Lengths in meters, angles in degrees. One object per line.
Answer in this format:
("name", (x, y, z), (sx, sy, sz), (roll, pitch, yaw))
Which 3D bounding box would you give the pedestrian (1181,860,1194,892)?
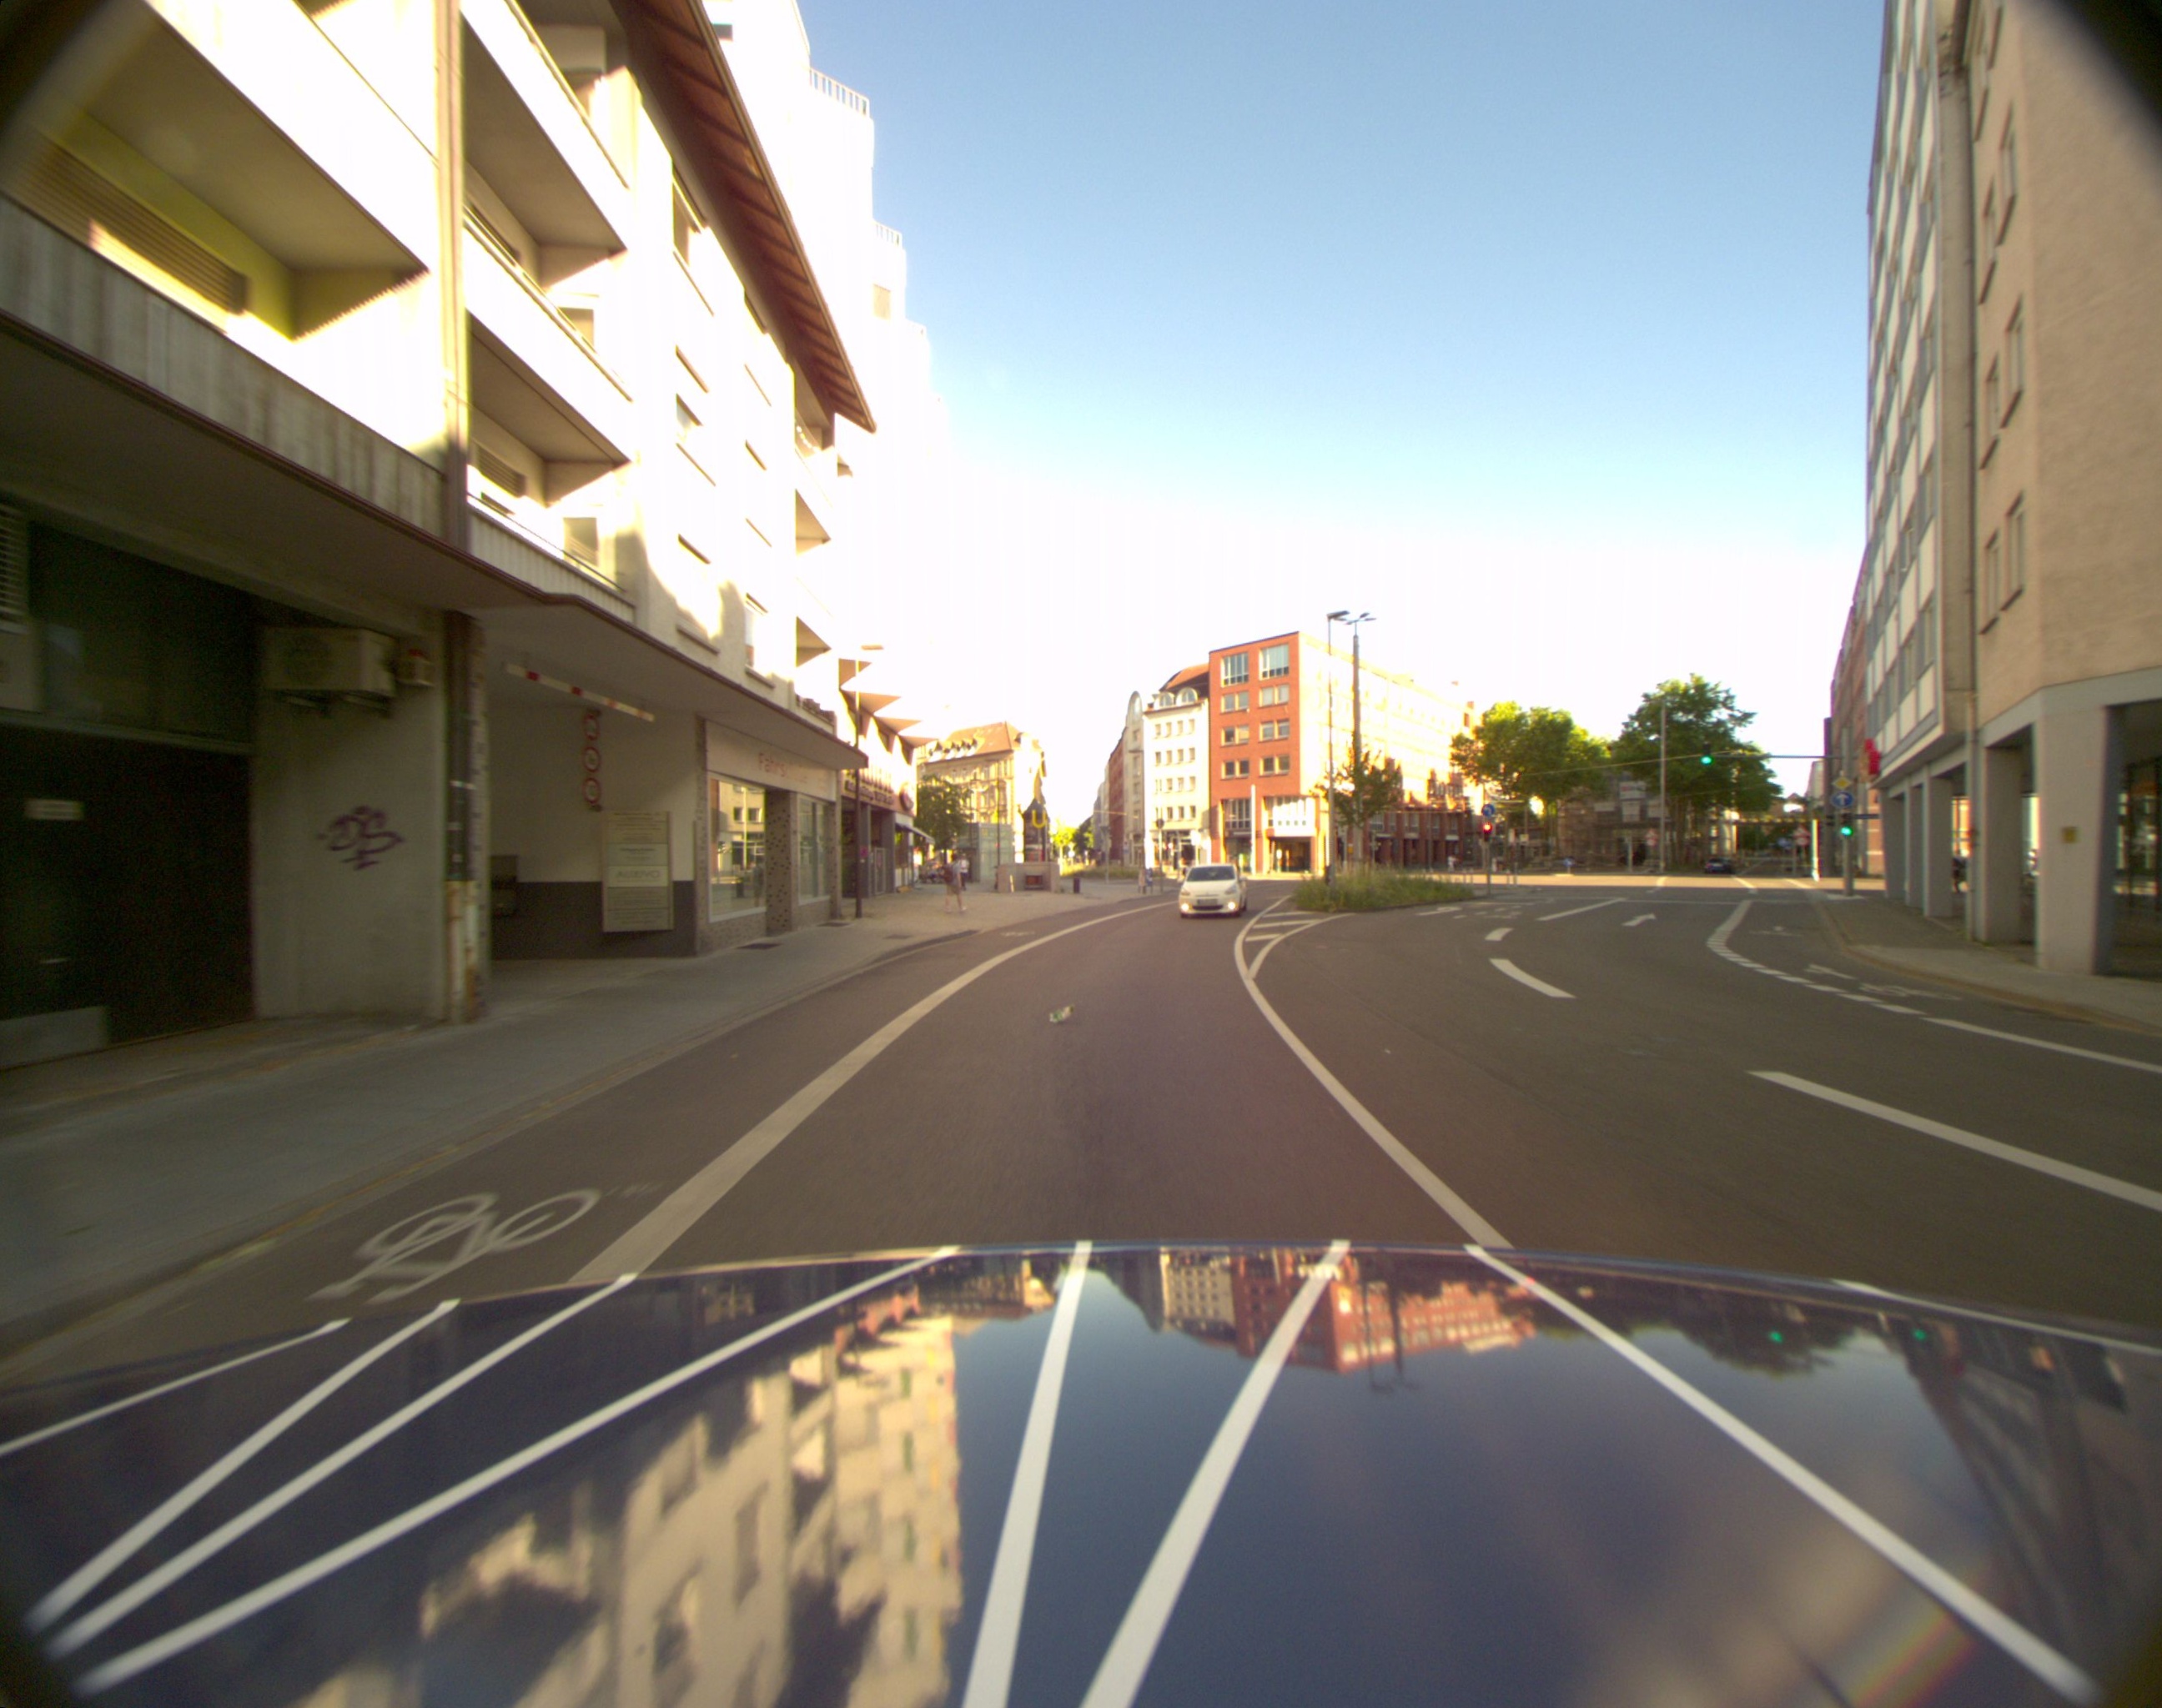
("pedestrian", (5.847, 1.198, 41.718), (0.593, 1.737, 0.502), (-2, 1, 7))

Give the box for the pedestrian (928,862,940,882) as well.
("pedestrian", (-9.460, 1.150, 48.772), (0.708, 1.235, 0.765), (2, 1, -11))

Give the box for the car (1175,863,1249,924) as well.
("car", (3.822, 1.055, 21.730), (1.681, 1.490, 3.689), (0, 1, 16))

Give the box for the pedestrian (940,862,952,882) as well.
("pedestrian", (-8.703, 1.172, 48.914), (0.708, 1.225, 0.770), (2, 1, -10))

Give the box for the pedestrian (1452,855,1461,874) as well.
("pedestrian", (35.871, 0.997, 72.547), (0.553, 1.737, 0.716), (-1, 2, 42))

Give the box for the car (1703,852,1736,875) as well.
("car", (54.228, 0.778, 64.522), (1.889, 1.718, 4.096), (-1, 1, 43))

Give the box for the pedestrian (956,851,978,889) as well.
("pedestrian", (-5.610, 0.774, 37.344), (0.709, 1.809, 0.705), (1, 1, -44))

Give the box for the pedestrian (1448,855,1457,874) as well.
("pedestrian", (35.202, 0.979, 72.069), (0.553, 1.737, 0.716), (-1, 2, 42))

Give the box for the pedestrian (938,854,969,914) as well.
("pedestrian", (-3.928, 0.917, 23.473), (0.706, 1.809, 0.707), (2, 1, 8))
